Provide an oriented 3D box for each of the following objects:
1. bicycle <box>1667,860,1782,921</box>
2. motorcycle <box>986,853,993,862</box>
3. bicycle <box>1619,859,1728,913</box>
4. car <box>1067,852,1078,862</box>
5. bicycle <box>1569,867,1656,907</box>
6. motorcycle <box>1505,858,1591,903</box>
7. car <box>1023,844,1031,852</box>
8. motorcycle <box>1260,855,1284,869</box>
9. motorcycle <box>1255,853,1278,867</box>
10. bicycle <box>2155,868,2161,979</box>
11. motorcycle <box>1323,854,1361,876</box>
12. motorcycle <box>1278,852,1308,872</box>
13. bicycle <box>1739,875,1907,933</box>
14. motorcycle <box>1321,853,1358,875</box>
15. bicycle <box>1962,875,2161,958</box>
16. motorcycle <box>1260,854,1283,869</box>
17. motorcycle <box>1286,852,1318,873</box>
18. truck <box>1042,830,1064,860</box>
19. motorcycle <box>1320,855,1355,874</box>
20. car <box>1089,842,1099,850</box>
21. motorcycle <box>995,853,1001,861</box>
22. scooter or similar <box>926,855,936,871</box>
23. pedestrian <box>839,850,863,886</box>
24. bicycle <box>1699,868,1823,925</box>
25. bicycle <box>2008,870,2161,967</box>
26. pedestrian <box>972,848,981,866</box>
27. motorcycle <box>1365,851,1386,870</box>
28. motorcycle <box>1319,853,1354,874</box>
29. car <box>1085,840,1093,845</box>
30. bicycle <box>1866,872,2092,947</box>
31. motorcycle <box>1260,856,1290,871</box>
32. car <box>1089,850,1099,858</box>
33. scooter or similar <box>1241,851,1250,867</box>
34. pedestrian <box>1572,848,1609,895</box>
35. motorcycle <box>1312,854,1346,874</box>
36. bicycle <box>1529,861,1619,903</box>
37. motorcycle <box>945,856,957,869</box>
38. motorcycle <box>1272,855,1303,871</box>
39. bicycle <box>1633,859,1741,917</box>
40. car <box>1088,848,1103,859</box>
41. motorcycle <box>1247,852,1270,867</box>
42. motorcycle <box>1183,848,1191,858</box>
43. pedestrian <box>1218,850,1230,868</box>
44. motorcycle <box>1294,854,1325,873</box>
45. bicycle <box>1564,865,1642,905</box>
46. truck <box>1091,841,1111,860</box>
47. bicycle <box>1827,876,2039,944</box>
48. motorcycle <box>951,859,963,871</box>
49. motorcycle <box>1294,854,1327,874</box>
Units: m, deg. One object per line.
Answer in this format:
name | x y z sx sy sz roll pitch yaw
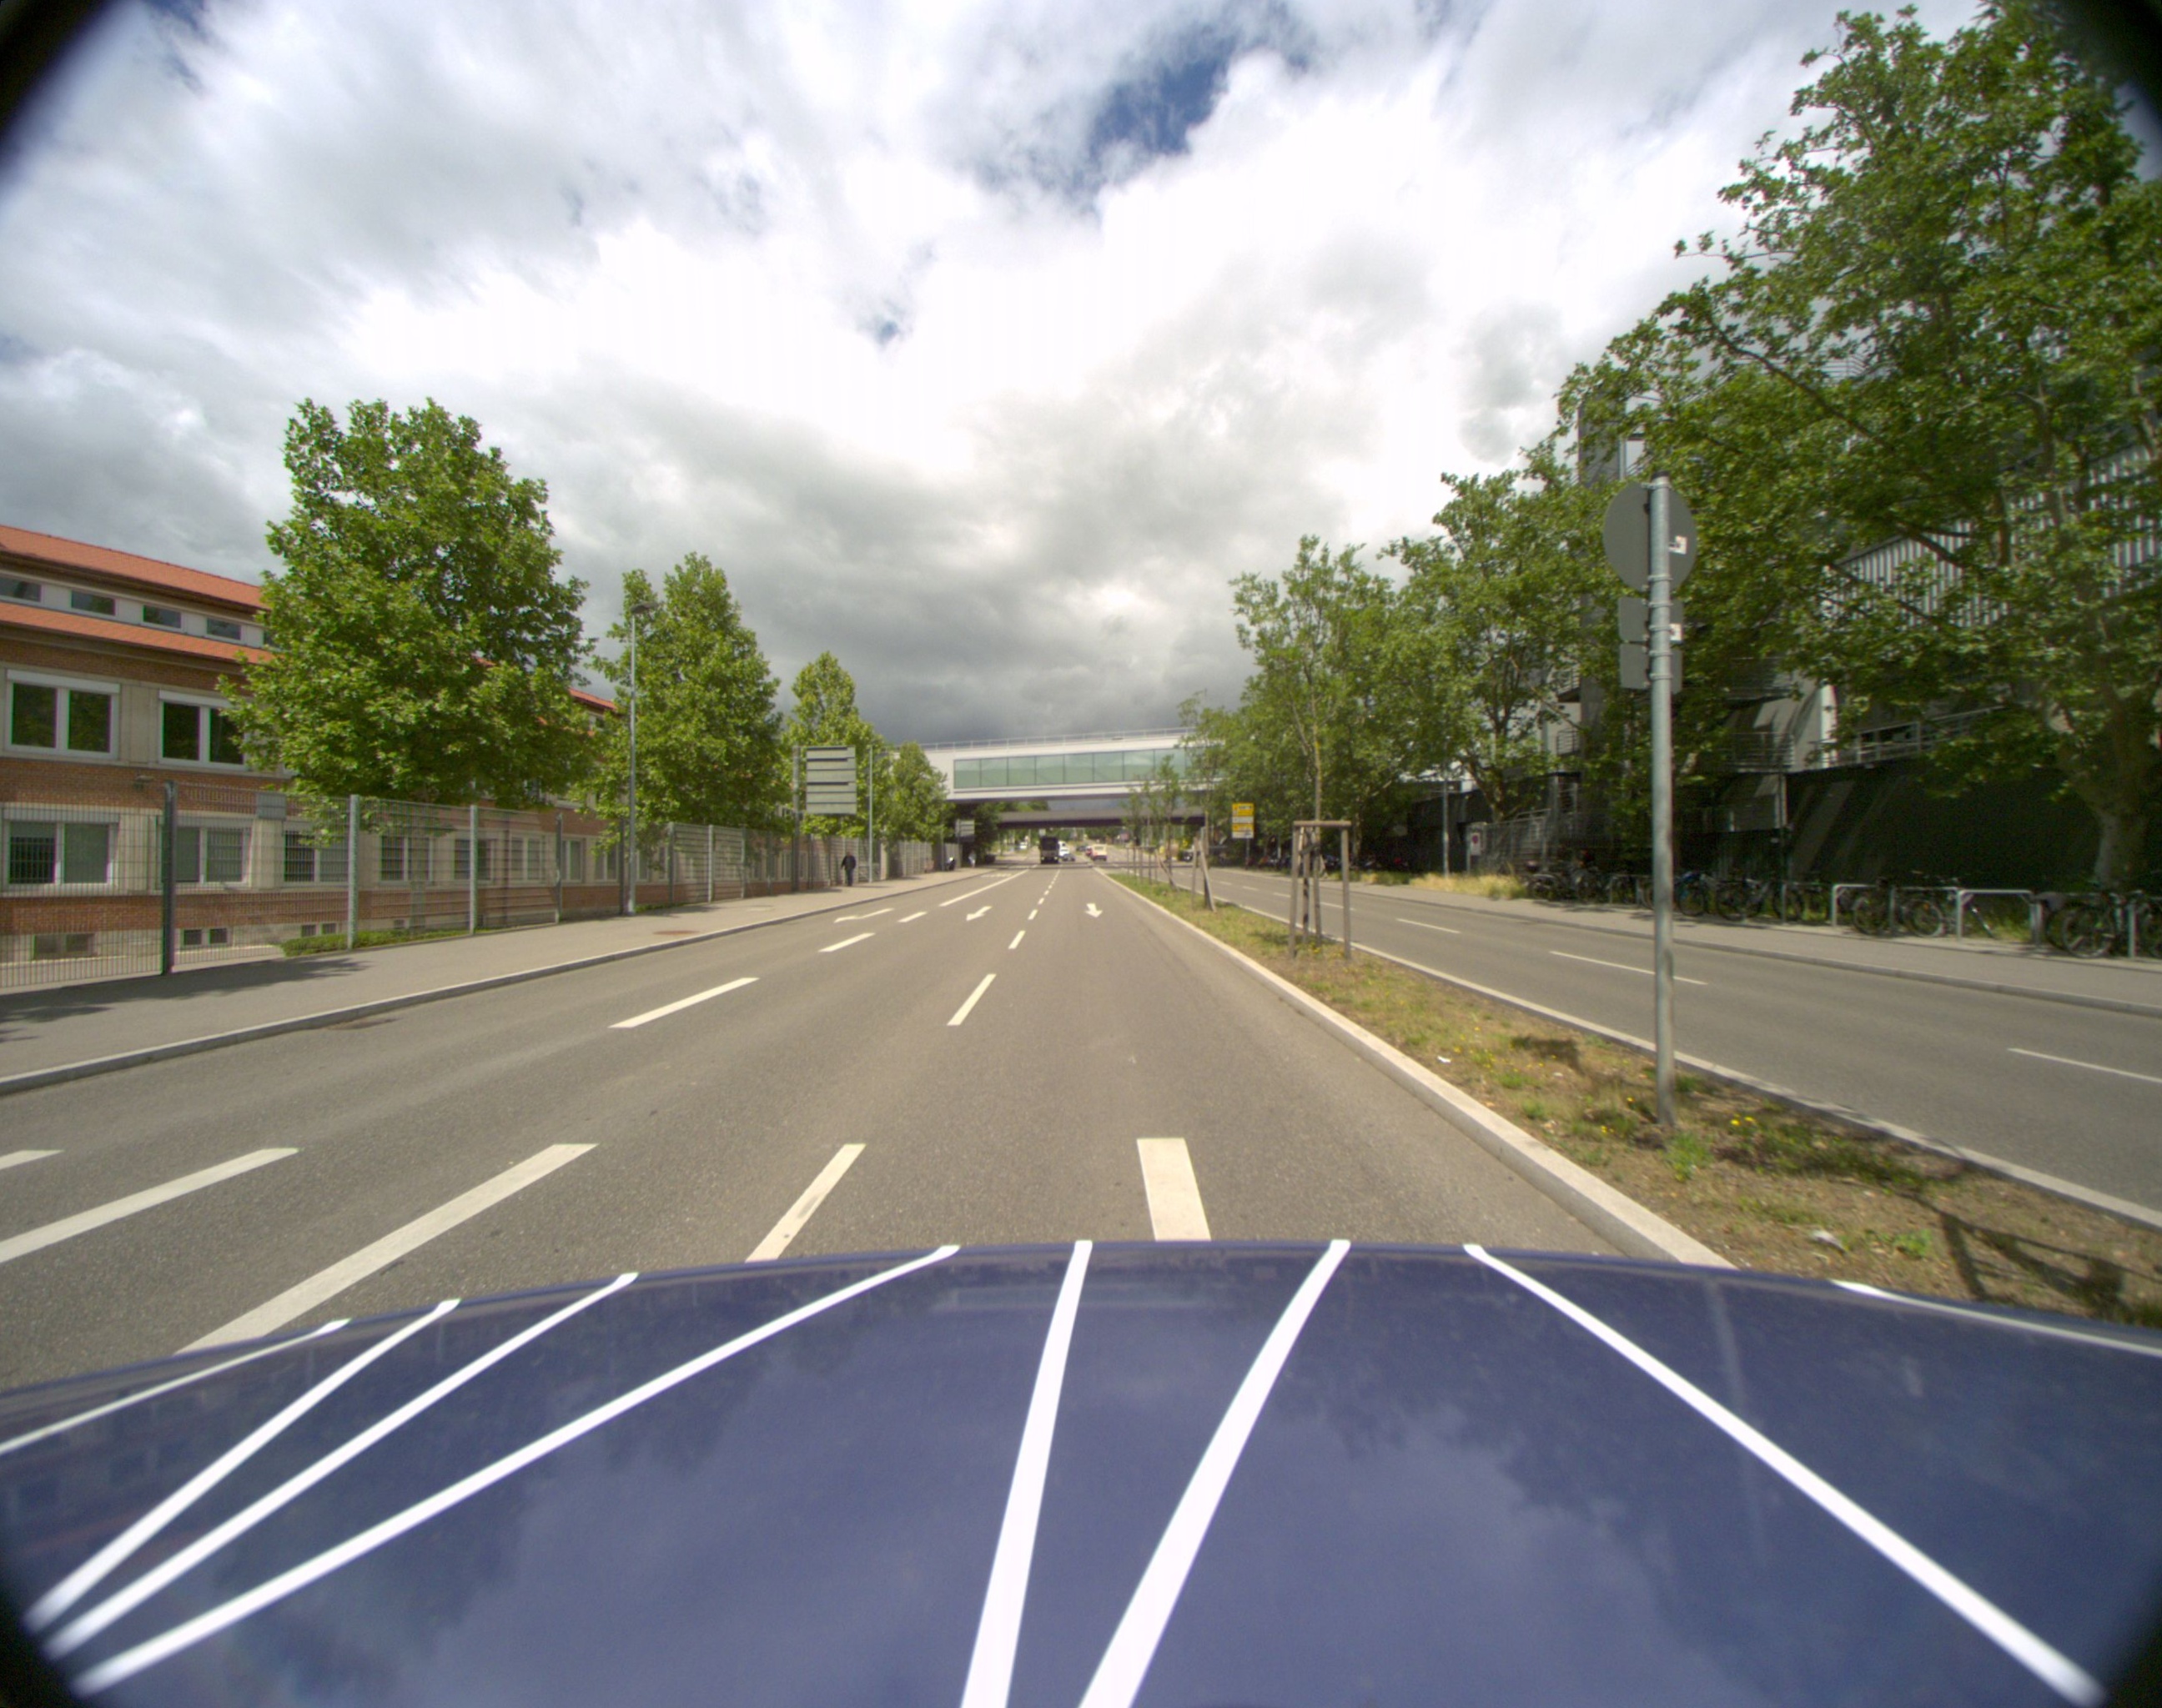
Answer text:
bicycle | 14.394 0.810 17.018 1.923 1.275 0.806 -1 1 -2
motorcycle | -12.195 0.493 101.803 0.679 1.148 2.112 0 1 0
bicycle | 14.909 0.785 19.158 2.139 1.275 0.806 -1 1 -2
car | -1.300 0.410 114.026 1.675 1.390 3.999 -1 0 -1
bicycle | 14.697 0.904 21.019 2.086 1.056 0.497 -1 1 -2
motorcycle | 14.252 0.794 23.232 2.139 1.301 0.806 -1 1 -2
car | -15.281 -1.753 215.411 1.999 2.268 3.997 -1 1 -6
motorcycle | 14.981 0.647 59.619 1.595 1.027 0.776 -3 -1 1
motorcycle | 15.222 0.506 62.325 1.596 1.116 0.775 -3 -1 -9
bicycle | 14.318 0.836 9.090 2.172 1.356 0.490 -1 1 2
motorcycle | 14.616 0.608 42.553 1.881 1.166 0.746 -3 -1 9
motorcycle | 15.180 0.560 54.280 1.934 1.283 0.894 -3 -1 20
bicycle | 14.777 0.971 15.153 2.844 1.000 0.850 -1 1 -9
motorcycle | 15.105 0.588 44.441 1.881 1.179 0.730 -3 0 8
bicycle | 14.999 0.919 11.312 2.569 1.151 0.726 -1 1 10
motorcycle | 15.259 0.639 60.992 1.595 1.116 0.776 -3 -1 1
motorcycle | 15.091 0.572 51.908 1.934 1.336 0.866 -3 -1 20
truck | -3.841 -1.170 105.670 2.787 3.981 10.085 -1 0 -1
motorcycle | 15.398 0.642 45.667 1.880 1.078 0.795 -3 -1 15
car | 2.653 -1.661 157.579 1.813 1.770 4.977 -1 1 -1
motorcycle | -11.824 0.445 107.783 0.679 1.076 2.180 0 1 -2
scooter or similar | -12.187 0.742 61.778 0.492 1.287 1.336 0 1 -1
pedestrian | -11.578 0.699 38.231 0.879 1.733 0.940 1 1 -1
bicycle | 14.333 0.887 16.056 1.923 1.116 0.806 -1 1 -2
bicycle | 14.303 0.871 10.426 2.410 1.250 0.556 -1 1 2
pedestrian | -11.260 0.312 81.658 0.791 1.877 1.097 0 1 -1
motorcycle | 18.784 0.424 48.502 0.654 1.202 1.984 -3 -1 4
motorcycle | 15.670 0.584 46.663 1.882 1.202 0.655 -3 -1 3
car | 2.226 -3.137 207.116 1.998 1.346 4.000 0 1 1
bicycle | 14.566 0.897 12.392 2.569 1.151 0.644 -1 1 10
motorcycle | 14.687 0.706 57.457 1.939 1.109 0.920 1 1 -12
car | 2.464 -0.086 144.439 1.713 1.445 4.479 -1 0 0
scooter or similar | 13.121 0.377 60.531 0.355 1.229 1.479 -2 2 -1
pedestrian | 17.026 0.568 25.394 0.755 1.543 0.821 -1 1 10
motorcycle | 15.593 0.619 47.873 1.882 1.172 0.698 -3 -1 3
bicycle | 14.405 0.807 22.232 2.139 1.173 0.806 -1 1 -2
motorcycle | -11.815 0.776 68.977 0.670 1.058 2.246 2 1 -1
motorcycle | 15.157 0.670 55.769 1.933 1.109 0.923 -3 -1 27
bicycle | 14.346 0.792 18.024 1.923 1.275 0.806 -1 1 -2
car | 2.358 -0.090 124.511 1.910 1.621 4.291 -1 0 -4
motorcycle | 15.006 0.500 64.360 1.745 1.164 0.777 -3 -1 8
motorcycle | 12.807 -0.137 91.750 0.641 1.191 2.257 -3 1 -1
pedestrian | 12.991 0.422 69.017 0.769 1.603 0.813 -3 1 -1
motorcycle | 15.131 0.616 50.447 1.880 1.172 0.816 -3 -1 15
bicycle | 14.749 0.868 21.488 1.929 1.068 0.422 -1 1 -2
truck | 2.998 -0.494 114.210 2.486 2.735 6.456 -1 0 -3
bicycle | 14.753 0.953 13.224 2.569 1.089 0.696 0 1 10
motorcycle | -11.766 1.008 72.111 0.709 1.058 2.510 2 1 -1
motorcycle | 14.833 0.665 49.124 1.881 1.172 0.815 -3 -1 9
